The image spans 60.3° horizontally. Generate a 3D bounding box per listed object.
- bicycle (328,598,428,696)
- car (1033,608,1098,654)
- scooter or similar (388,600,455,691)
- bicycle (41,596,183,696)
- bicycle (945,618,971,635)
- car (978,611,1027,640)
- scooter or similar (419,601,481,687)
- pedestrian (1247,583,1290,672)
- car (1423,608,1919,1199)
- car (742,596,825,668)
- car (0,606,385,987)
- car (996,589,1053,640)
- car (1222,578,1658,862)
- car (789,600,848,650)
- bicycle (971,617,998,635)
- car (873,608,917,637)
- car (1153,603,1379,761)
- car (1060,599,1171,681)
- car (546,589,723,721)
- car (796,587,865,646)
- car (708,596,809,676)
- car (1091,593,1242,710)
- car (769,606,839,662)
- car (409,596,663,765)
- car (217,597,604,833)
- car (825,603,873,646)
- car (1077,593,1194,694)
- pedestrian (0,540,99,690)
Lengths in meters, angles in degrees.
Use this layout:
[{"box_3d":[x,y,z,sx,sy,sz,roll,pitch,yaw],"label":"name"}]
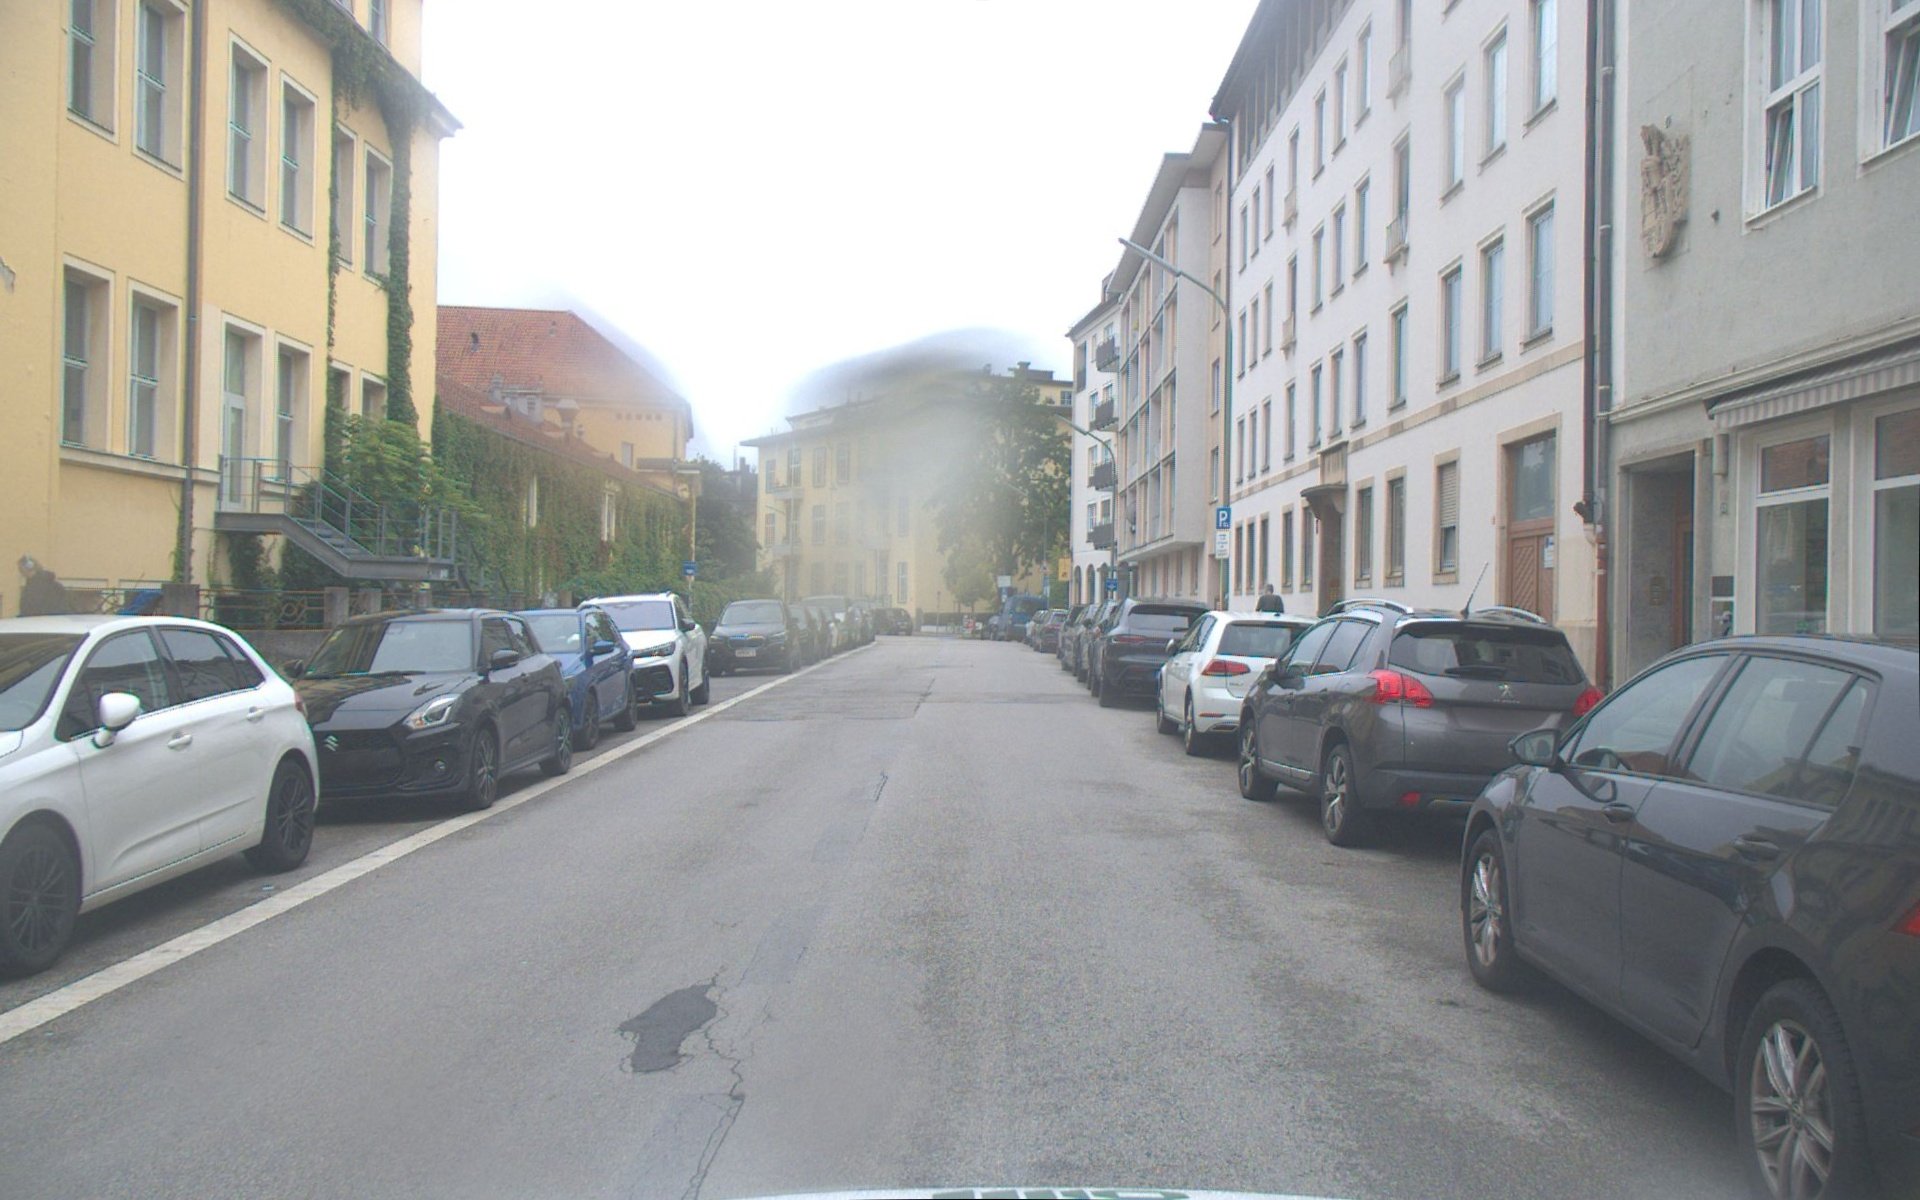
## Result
[{"box_3d":[-8.463,0.659,24.144,0.667,1.352,2.113,1,-1,1],"label":"bicycle"},{"box_3d":[3.566,1.039,56.700,1.710,1.412,4.952,3,-1,-2],"label":"car"},{"box_3d":[-8.504,0.699,26.160,0.548,1.393,1.501,0,0,1],"label":"scooter or similar"},{"box_3d":[-11.150,0.596,21.771,1.592,1.290,0.527,0,0,1],"label":"bicycle"},{"box_3d":[-0.129,1.941,121.181,1.890,1.222,0.593,1,-1,37],"label":"bicycle"},{"box_3d":[2.279,1.367,89.837,1.648,1.413,4.293,5,-2,-12],"label":"car"},{"box_3d":[-8.530,0.714,27.712,0.548,1.393,1.501,0,0,1],"label":"scooter or similar"},{"box_3d":[6.313,0.567,33.905,0.708,1.794,0.905,1,-2,1],"label":"pedestrian"},{"box_3d":[2.883,0.797,5.301,1.652,1.426,4.365,1,1,2],"label":"car"},{"box_3d":[-4.414,0.787,41.938,1.689,1.658,4.464,-2,-1,-1],"label":"car"},{"box_3d":[-4.567,0.824,8.146,1.748,1.456,4.652,-4,0,0],"label":"car"},{"box_3d":[3.224,0.773,83.701,2.039,2.272,5.237,5,-3,-6],"label":"car"},{"box_3d":[3.194,0.731,11.968,1.672,1.620,4.359,2,-1,-3],"label":"car"},{"box_3d":[-4.433,0.788,52.267,1.559,1.466,4.017,-2,-1,-1],"label":"car"},{"box_3d":[1.793,1.894,119.981,1.881,1.222,0.596,1,-1,14],"label":"bicycle"},{"box_3d":[-4.769,1.633,120.225,1.738,1.907,4.351,5,-2,-21],"label":"car"},{"box_3d":[3.204,0.807,18.163,1.638,1.454,4.530,2,0,1],"label":"car"},{"box_3d":[3.253,0.809,35.601,1.766,1.510,5.319,4,0,0],"label":"car"},{"box_3d":[-4.486,0.712,23.456,1.710,1.662,4.854,-1,0,-2],"label":"car"},{"box_3d":[-4.470,0.581,57.726,1.848,1.923,4.774,-2,-1,1],"label":"car"},{"box_3d":[-4.447,0.774,37.081,1.753,1.614,4.816,-2,0,-2],"label":"car"},{"box_3d":[3.053,0.740,25.333,1.801,1.549,4.710,2,0,2],"label":"car"},{"box_3d":[-4.392,0.939,47.011,1.571,1.455,4.250,-2,-1,-1],"label":"car"},{"box_3d":[-4.564,0.811,18.488,1.669,1.528,4.494,-4,0,-1],"label":"car"},{"box_3d":[-4.201,0.800,13.380,1.664,1.523,4.148,-3,0,0],"label":"car"},{"box_3d":[-4.530,0.996,68.025,1.663,1.671,4.489,-2,-1,-1],"label":"car"},{"box_3d":[3.133,0.758,30.347,1.611,1.617,4.634,4,0,1],"label":"car"},{"box_3d":[-11.083,0.172,19.801,0.882,1.749,1.059,0,0,16],"label":"pedestrian"}]
